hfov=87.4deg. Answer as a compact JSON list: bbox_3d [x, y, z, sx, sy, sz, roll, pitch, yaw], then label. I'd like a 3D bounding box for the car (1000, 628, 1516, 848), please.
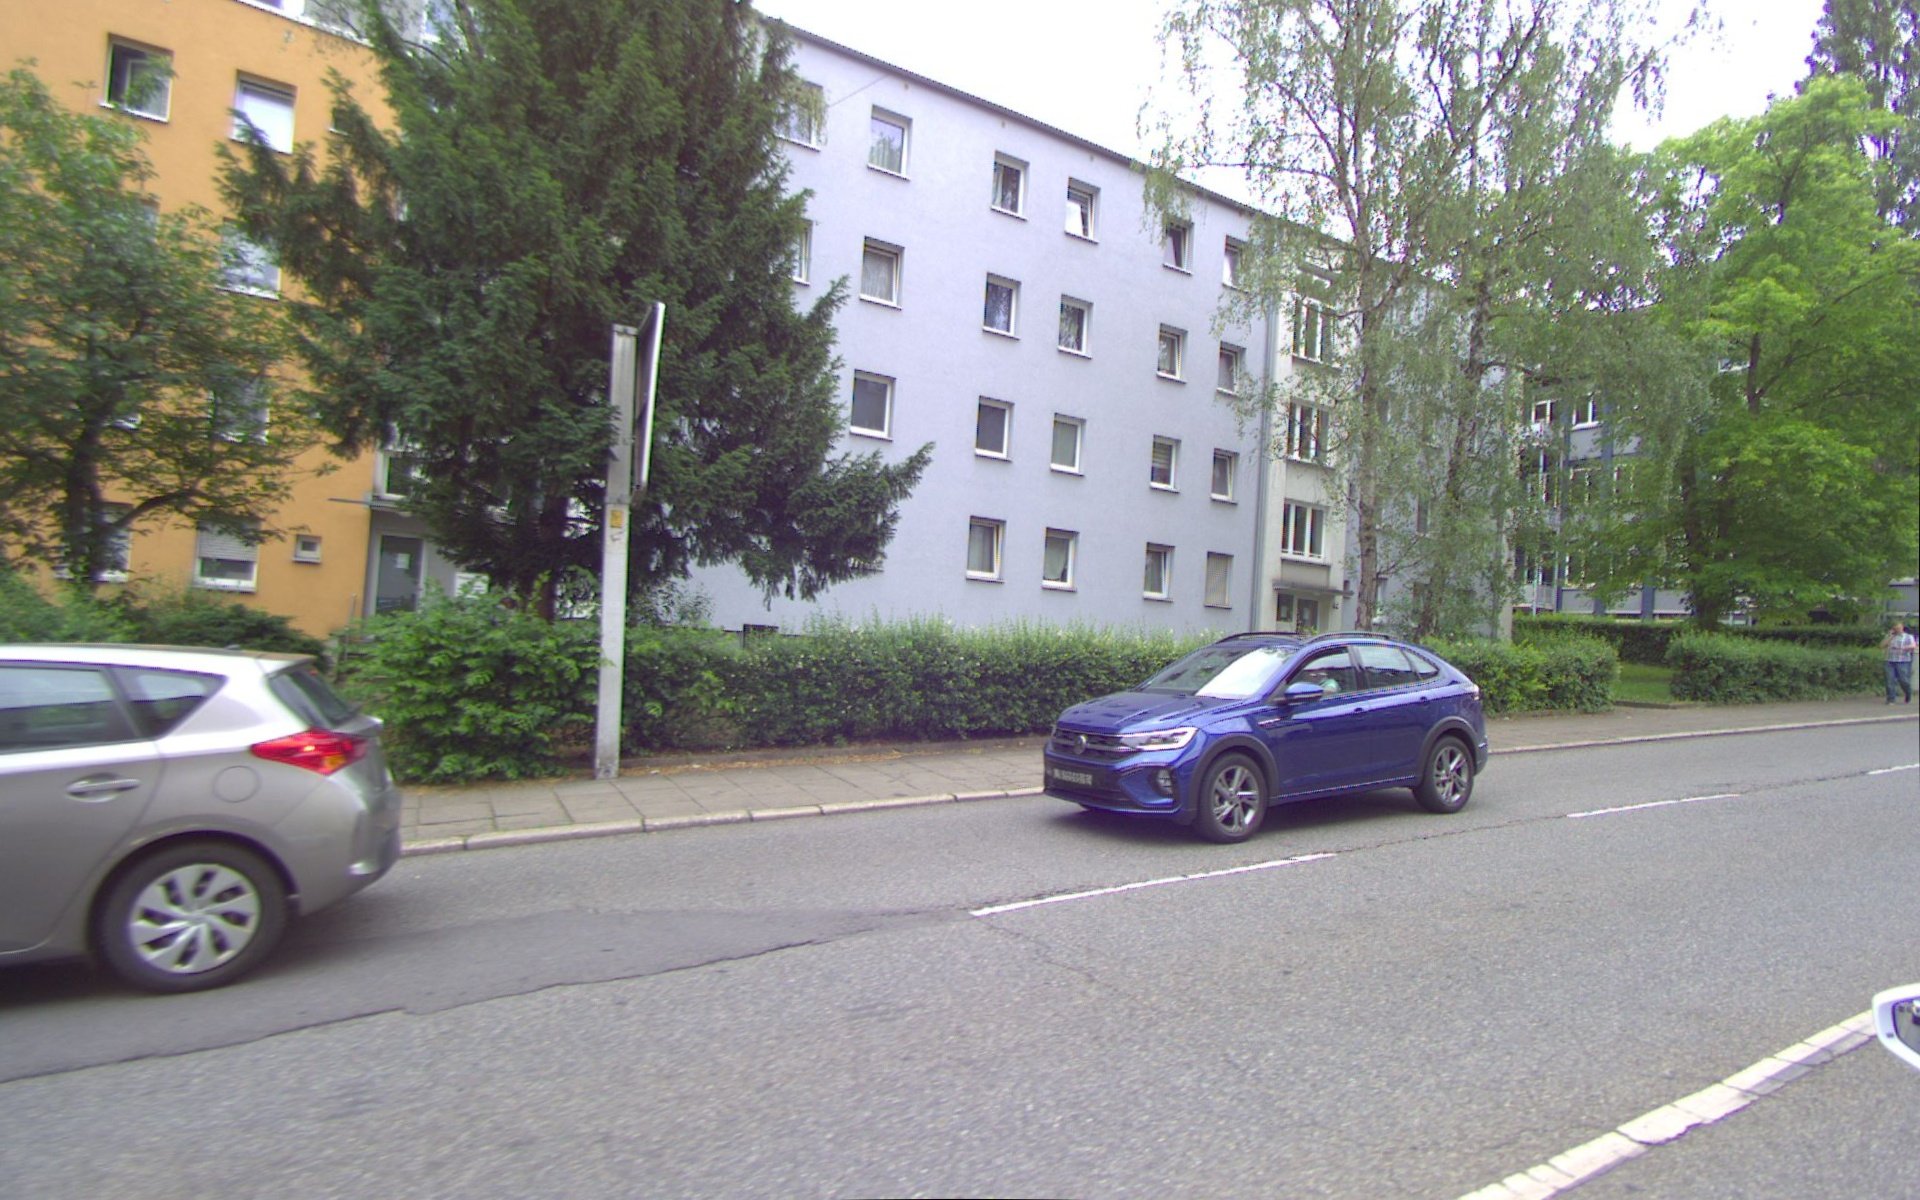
[{"bbox_3d":[2.621,1.021,8.608,4.260,1.467,1.831,2,-3,-30],"label":"car"}]

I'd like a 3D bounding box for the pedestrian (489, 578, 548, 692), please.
[{"bbox_3d":[-7.142,0.550,16.244,0.783,1.778,0.720,-2,1,-25],"label":"pedestrian"}]

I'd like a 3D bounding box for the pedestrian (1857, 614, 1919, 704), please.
[{"bbox_3d":[21.472,1.344,23.154,0.857,1.976,0.878,1,2,-30],"label":"pedestrian"}]

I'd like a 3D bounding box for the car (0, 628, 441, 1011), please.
[{"bbox_3d":[-4.693,0.853,4.350,4.260,1.467,1.831,2,-3,-30],"label":"car"}]
